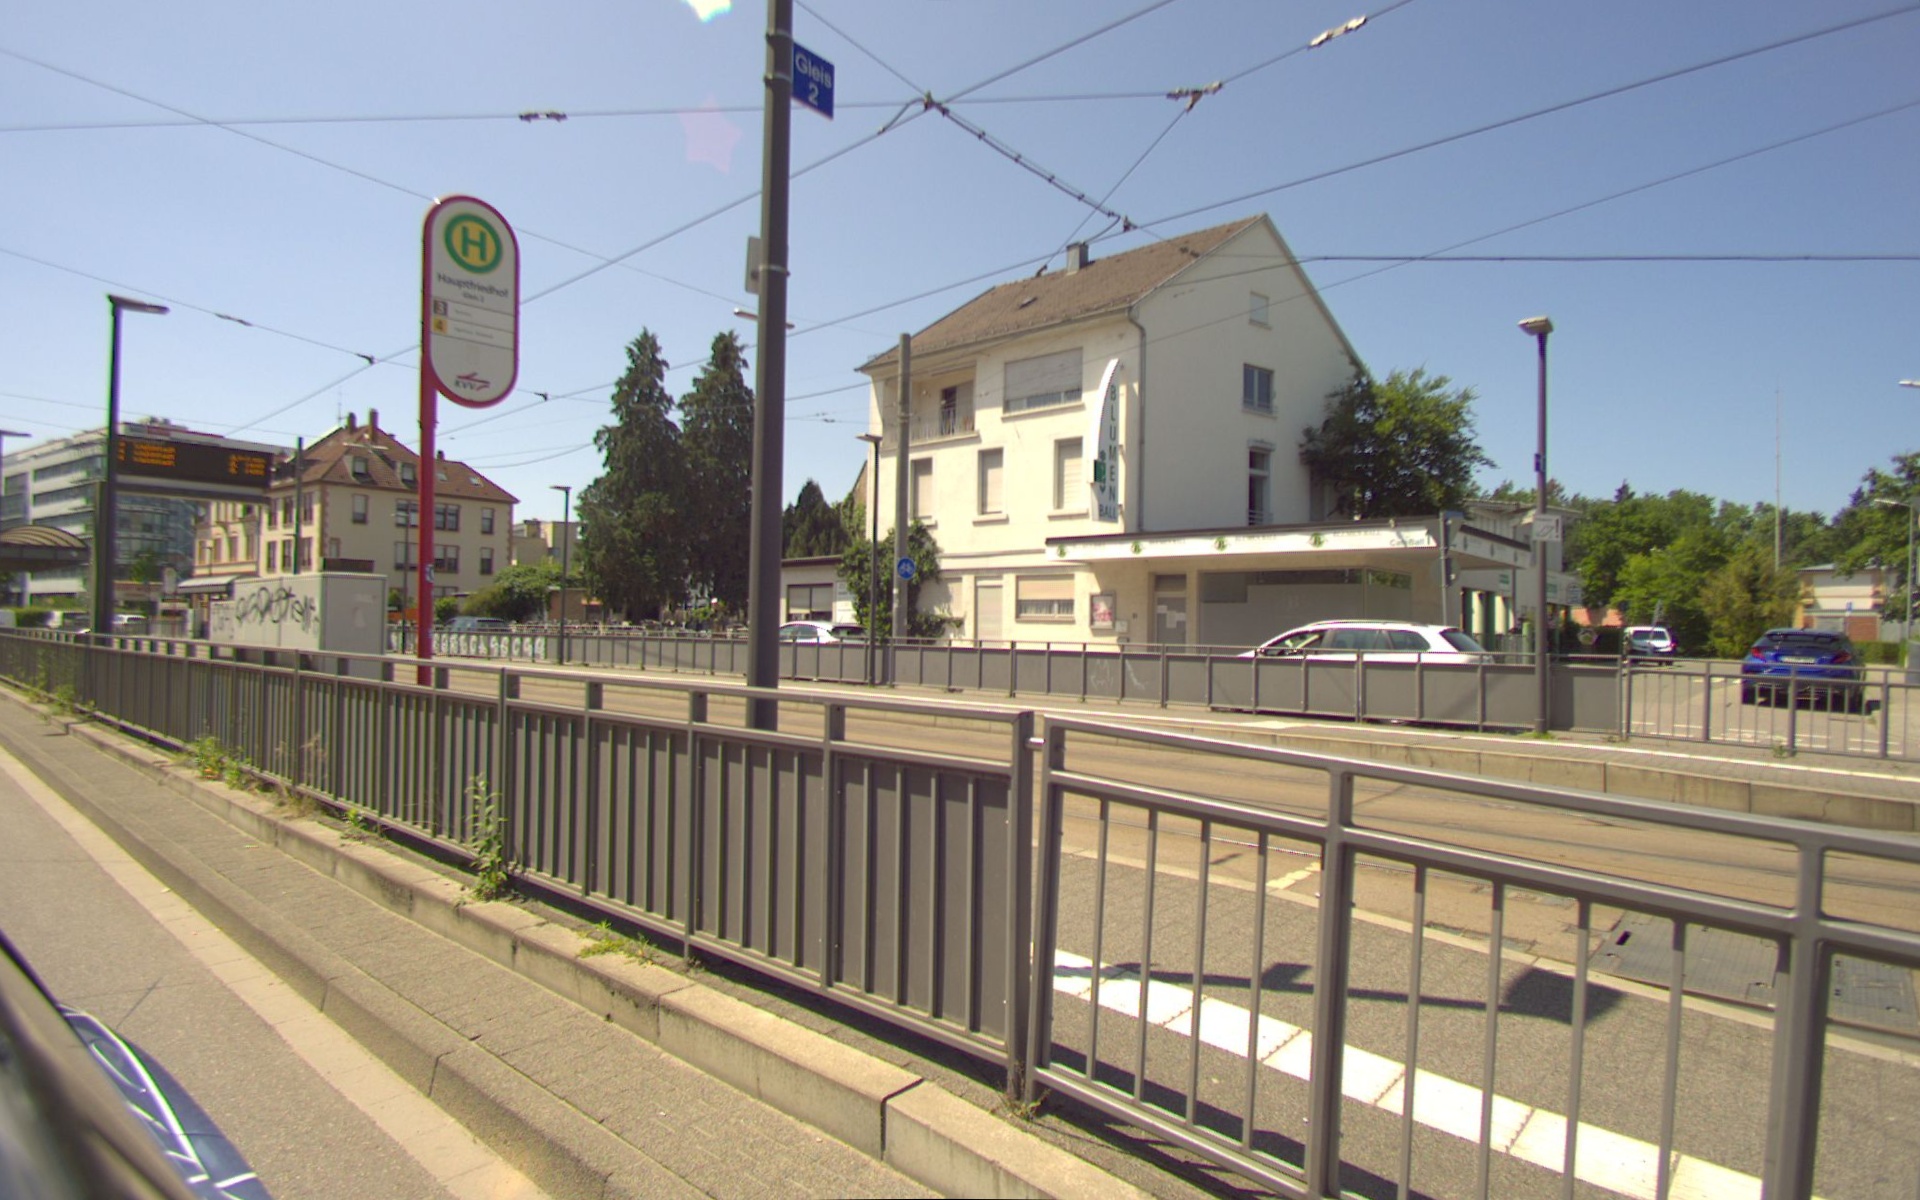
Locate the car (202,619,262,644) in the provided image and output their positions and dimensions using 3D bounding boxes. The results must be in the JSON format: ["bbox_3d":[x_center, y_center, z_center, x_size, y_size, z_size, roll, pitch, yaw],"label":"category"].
[{"bbox_3d":[-41.836,1.804,58.167,4.171,1.406,1.799,-1,-2,40],"label":"car"}]

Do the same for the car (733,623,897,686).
[{"bbox_3d":[-3.543,1.282,24.303,1.797,1.373,4.054,4,-4,-45],"label":"car"}]

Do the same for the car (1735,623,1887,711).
[{"bbox_3d":[16.921,1.245,20.064,3.898,1.463,1.826,-1,0,-43],"label":"car"}]

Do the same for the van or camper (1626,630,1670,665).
[{"bbox_3d":[33.341,2.278,49.095,1.686,1.578,3.782,-1,-2,33],"label":"van or camper"}]

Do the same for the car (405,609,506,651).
[{"bbox_3d":[-18.566,1.085,37.182,4.478,1.453,1.836,-1,-2,43],"label":"car"}]

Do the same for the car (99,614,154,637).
[{"bbox_3d":[-57.429,1.748,69.705,4.613,1.479,1.802,-1,-2,35],"label":"car"}]

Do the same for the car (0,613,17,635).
[{"bbox_3d":[-81.389,2.004,85.147,4.683,1.830,1.841,0,-2,33],"label":"car"}]

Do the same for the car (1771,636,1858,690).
[{"bbox_3d":[23.794,1.734,28.139,1.645,1.380,3.758,-1,-3,43],"label":"car"}]

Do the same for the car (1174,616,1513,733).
[{"bbox_3d":[5.690,1.020,15.344,4.495,1.501,1.799,0,-2,40],"label":"car"}]
